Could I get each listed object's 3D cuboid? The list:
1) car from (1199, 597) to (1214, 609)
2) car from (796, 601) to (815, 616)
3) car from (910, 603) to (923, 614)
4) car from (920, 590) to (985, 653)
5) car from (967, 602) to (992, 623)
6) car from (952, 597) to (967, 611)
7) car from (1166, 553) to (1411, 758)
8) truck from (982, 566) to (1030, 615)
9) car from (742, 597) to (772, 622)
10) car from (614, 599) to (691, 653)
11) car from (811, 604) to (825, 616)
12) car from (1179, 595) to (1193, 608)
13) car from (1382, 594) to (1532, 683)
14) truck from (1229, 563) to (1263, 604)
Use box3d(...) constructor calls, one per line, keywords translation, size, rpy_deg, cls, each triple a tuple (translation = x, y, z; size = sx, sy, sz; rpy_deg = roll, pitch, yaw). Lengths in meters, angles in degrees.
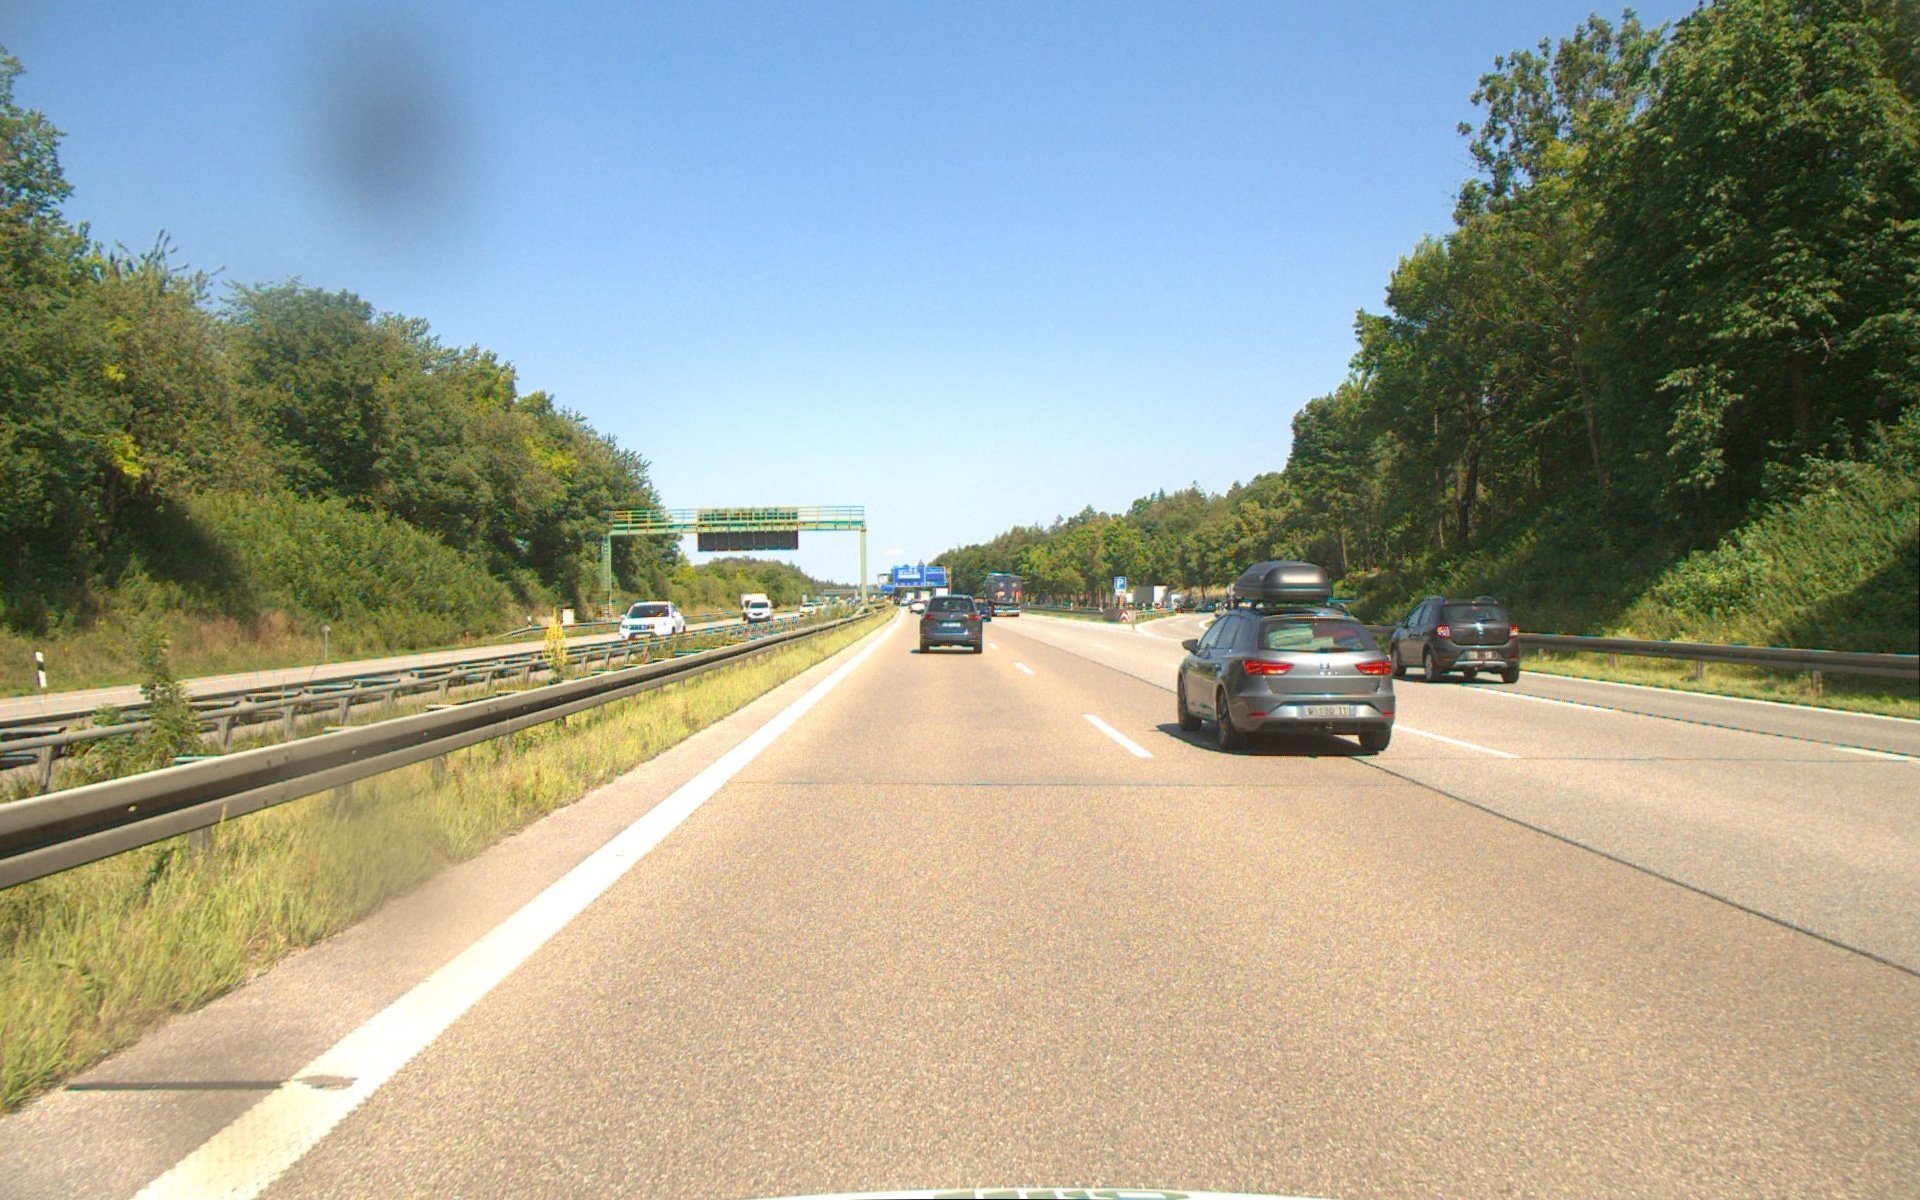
box3d(translation=(34.558, 0.410, 231.934), size=(1.951, 1.601, 4.003), rpy_deg=(-1, 0, 7), cls="car")
box3d(translation=(-17.964, 0.963, 192.662), size=(1.841, 1.638, 5.308), rpy_deg=(-3, 0, -2), cls="car")
box3d(translation=(-4.955, 0.942, 186.734), size=(1.441, 1.249, 3.409), rpy_deg=(-1, 0, -2), cls="car")
box3d(translation=(-0.180, 0.581, 47.817), size=(1.762, 1.698, 4.259), rpy_deg=(1, 0, 1), cls="car")
box3d(translation=(1.373, 0.856, 117.724), size=(1.728, 1.406, 4.259), rpy_deg=(1, 0, 1), cls="car")
box3d(translation=(-0.049, 0.463, 174.862), size=(1.441, 1.422, 3.409), rpy_deg=(2, 0, -2), cls="car")
box3d(translation=(3.442, 0.513, 18.219), size=(1.631, 1.909, 4.826), rpy_deg=(-2, 0, -1), cls="car")
box3d(translation=(4.302, -0.863, 158.278), size=(3.704, 4.499, 14.045), rpy_deg=(0, 0, -2), cls="truck")
box3d(translation=(-16.009, 0.697, 130.633), size=(1.710, 1.862, 5.167), rpy_deg=(-3, 0, -2), cls="car")
box3d(translation=(-10.194, 0.832, 55.036), size=(1.775, 1.645, 3.913), rpy_deg=(-3, 0, 0), cls="car")
box3d(translation=(-19.154, 1.408, 223.490), size=(1.632, 1.489, 3.881), rpy_deg=(-3, 0, -2), cls="car")
box3d(translation=(33.992, 0.273, 248.364), size=(1.621, 1.910, 4.801), rpy_deg=(-1, 0, 2), cls="car")
box3d(translation=(9.685, 0.699, 32.549), size=(1.728, 1.595, 4.259), rpy_deg=(1, 0, 1), cls="car")
box3d(translation=(29.277, -1.645, 169.677), size=(3.215, 4.016, 9.359), rpy_deg=(-1, 0, 9), cls="truck")
